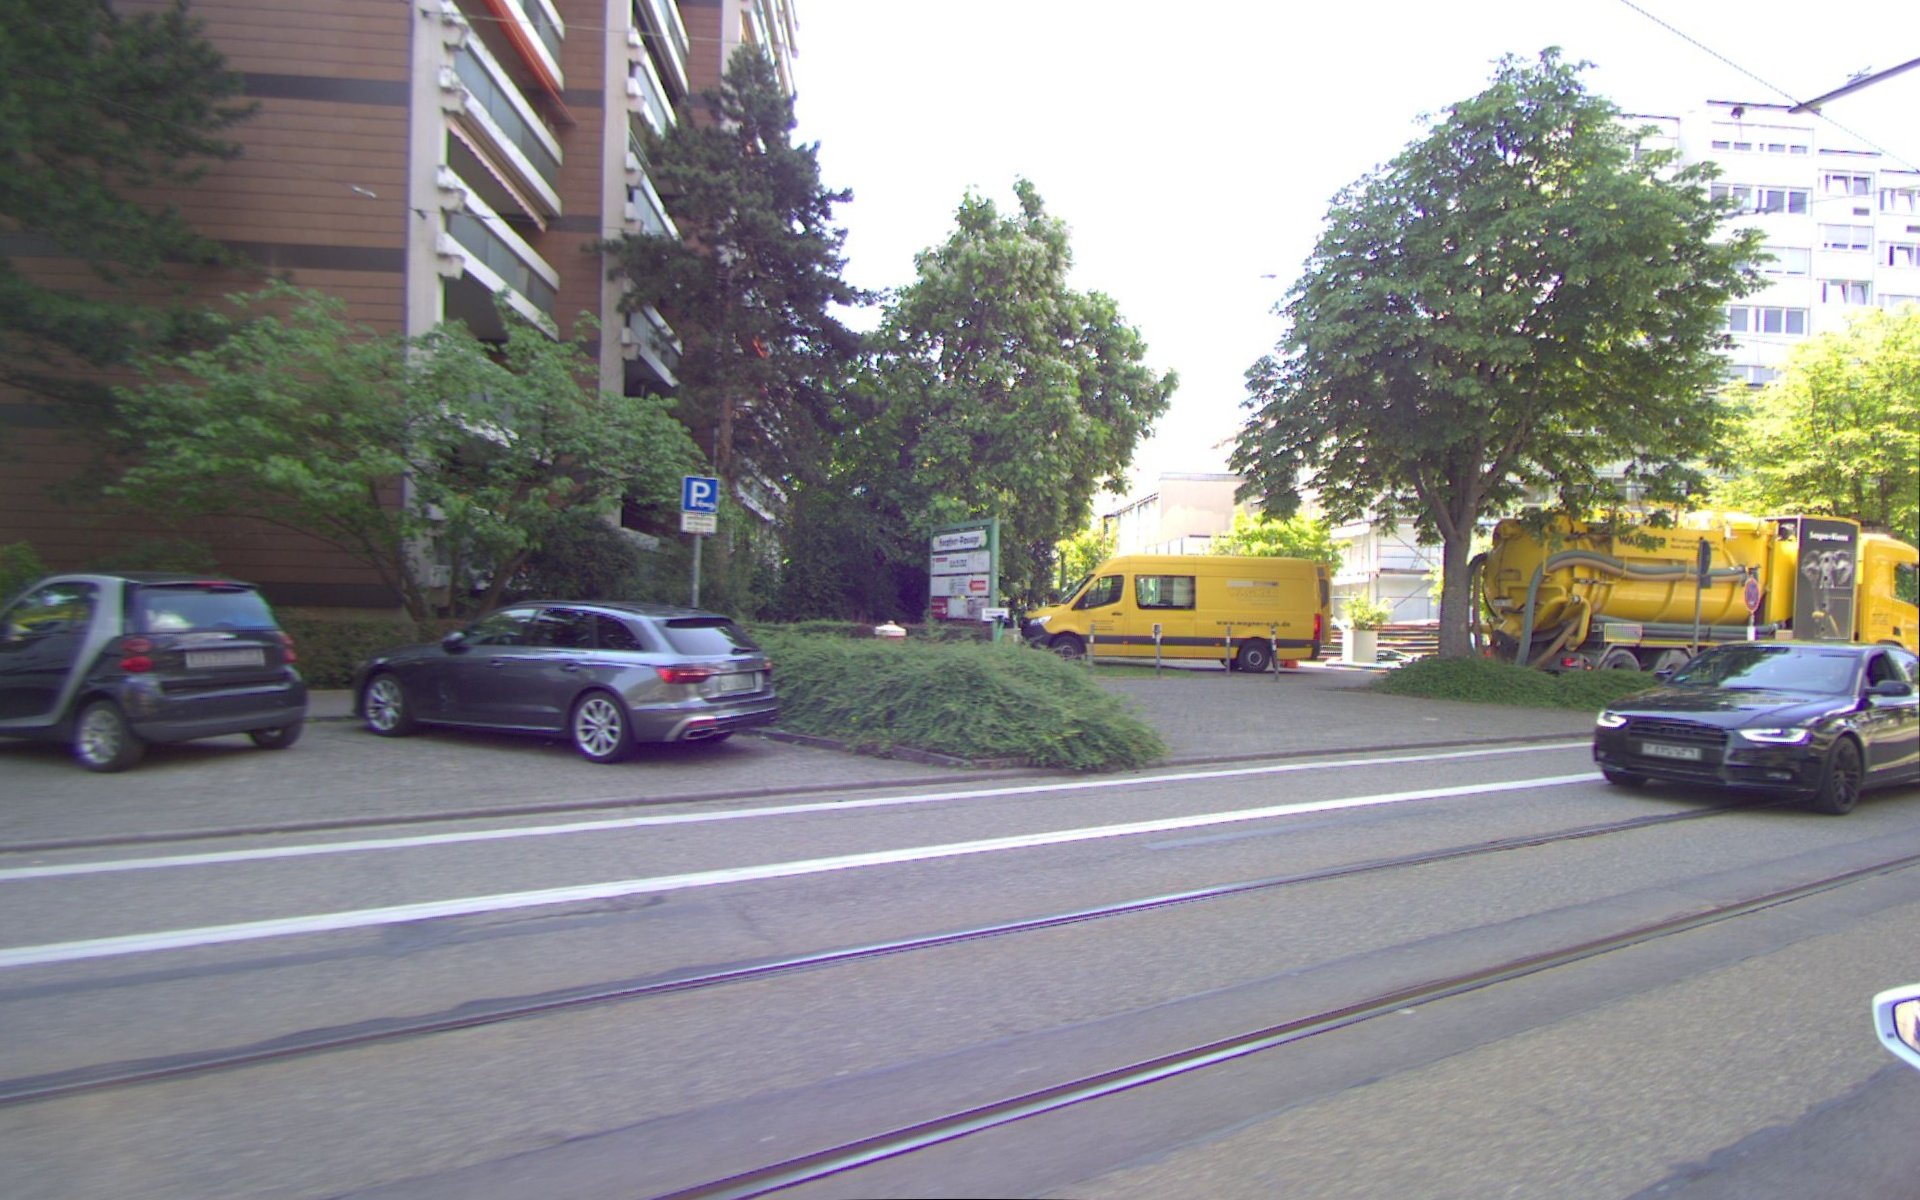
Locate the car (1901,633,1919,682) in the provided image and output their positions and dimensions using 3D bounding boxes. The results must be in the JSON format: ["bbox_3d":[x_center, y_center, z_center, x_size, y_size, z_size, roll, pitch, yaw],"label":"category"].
[{"bbox_3d":[32.230,1.822,31.063,4.120,1.527,1.875,0,-2,19],"label":"car"}]

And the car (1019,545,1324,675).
[{"bbox_3d":[4.807,0.229,23.570,6.592,2.599,2.185,3,0,0],"label":"car"}]

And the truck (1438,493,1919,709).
[{"bbox_3d":[15.658,0.161,21.298,10.786,3.893,2.714,2,1,-17],"label":"truck"}]

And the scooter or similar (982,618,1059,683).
[{"bbox_3d":[1.094,0.904,18.102,1.351,1.139,0.382,1,1,-26],"label":"scooter or similar"}]

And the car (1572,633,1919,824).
[{"bbox_3d":[7.911,1.056,9.561,4.237,1.416,1.766,1,0,-30],"label":"car"}]

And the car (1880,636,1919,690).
[{"bbox_3d":[29.465,1.851,29.173,3.634,1.527,1.764,0,-2,13],"label":"car"}]

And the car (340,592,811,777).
[{"bbox_3d":[-3.866,0.707,10.099,4.361,1.413,1.772,2,1,22],"label":"car"}]

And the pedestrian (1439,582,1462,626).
[{"bbox_3d":[18.209,0.152,37.284,0.608,1.576,0.478,1,-2,-3],"label":"pedestrian"}]

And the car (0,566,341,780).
[{"bbox_3d":[-7.833,0.509,9.030,3.872,1.553,1.772,2,1,18],"label":"car"}]
